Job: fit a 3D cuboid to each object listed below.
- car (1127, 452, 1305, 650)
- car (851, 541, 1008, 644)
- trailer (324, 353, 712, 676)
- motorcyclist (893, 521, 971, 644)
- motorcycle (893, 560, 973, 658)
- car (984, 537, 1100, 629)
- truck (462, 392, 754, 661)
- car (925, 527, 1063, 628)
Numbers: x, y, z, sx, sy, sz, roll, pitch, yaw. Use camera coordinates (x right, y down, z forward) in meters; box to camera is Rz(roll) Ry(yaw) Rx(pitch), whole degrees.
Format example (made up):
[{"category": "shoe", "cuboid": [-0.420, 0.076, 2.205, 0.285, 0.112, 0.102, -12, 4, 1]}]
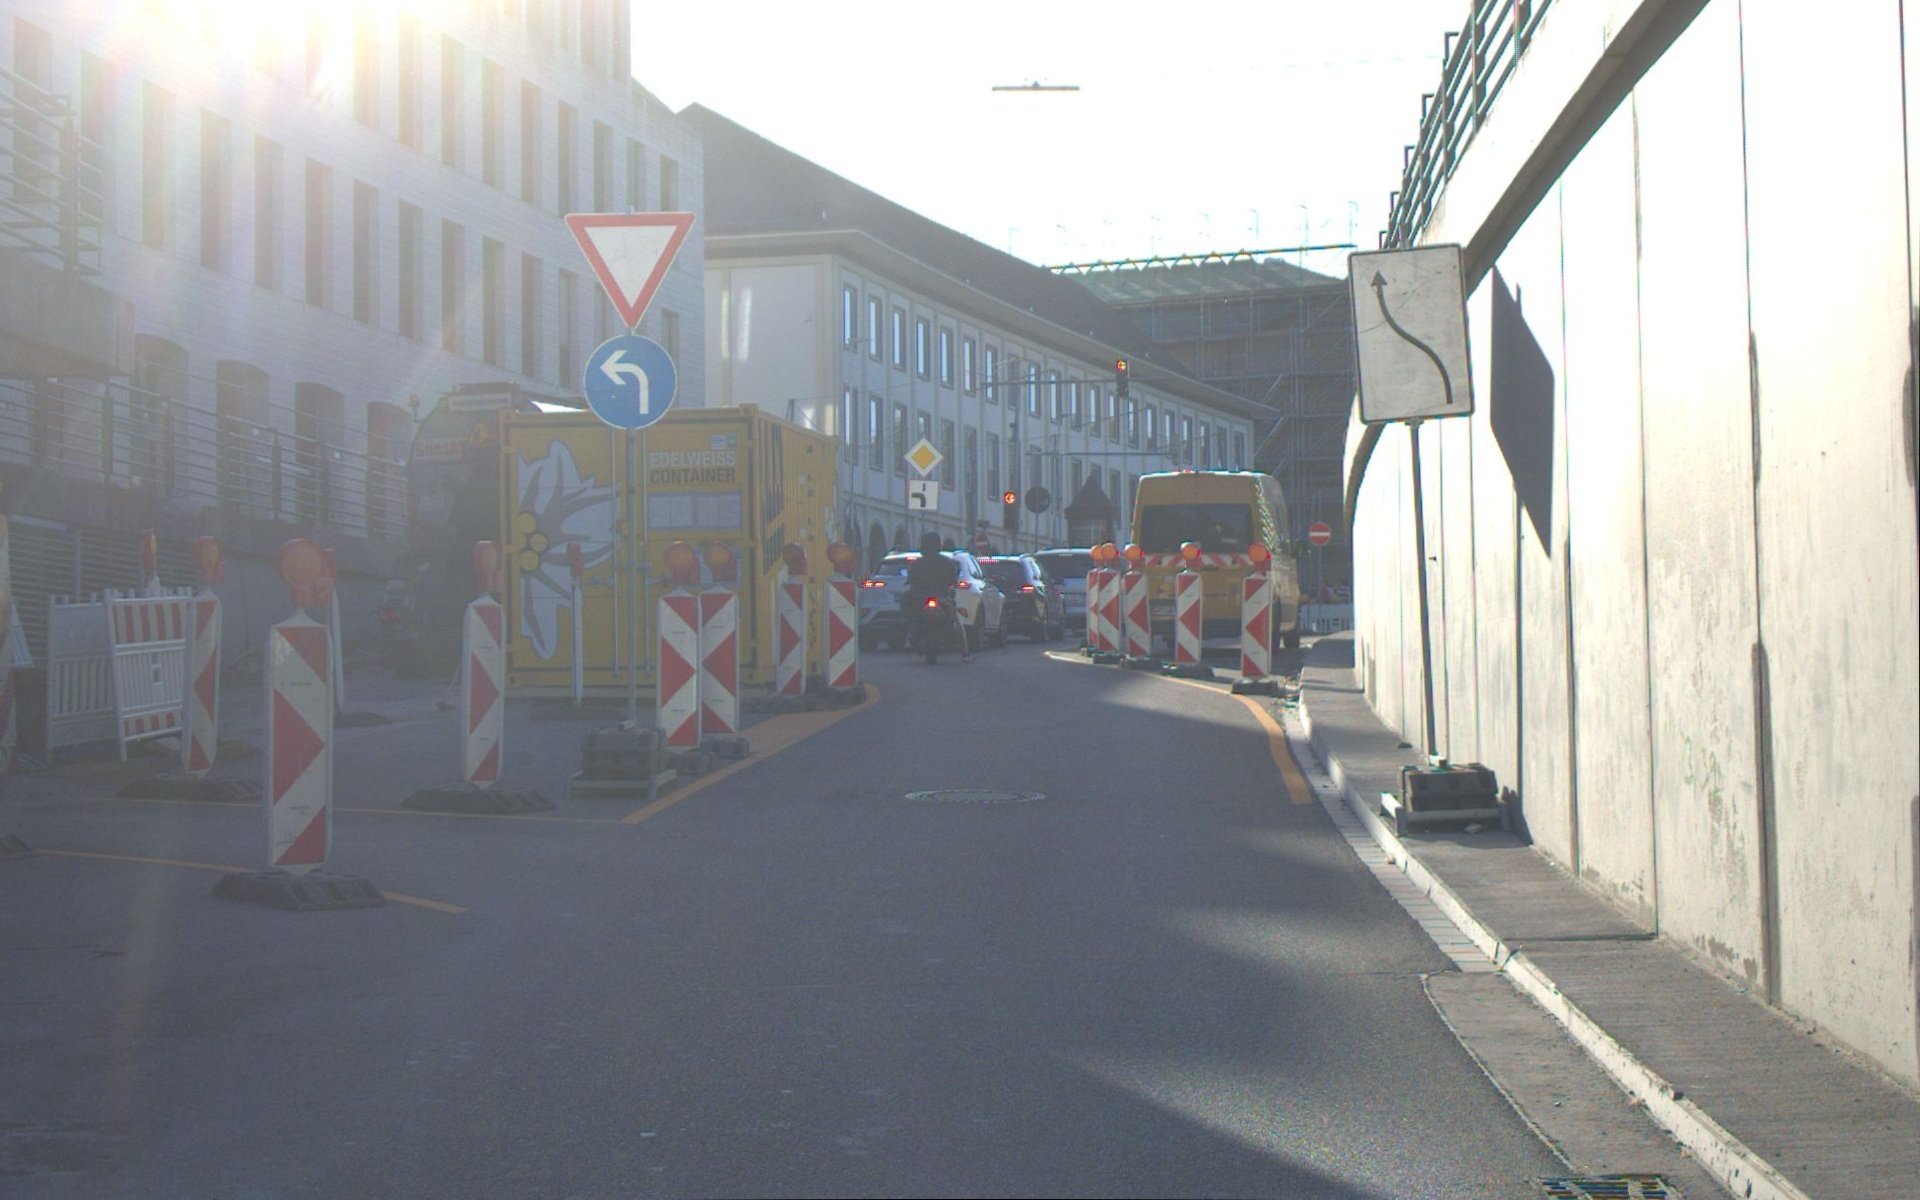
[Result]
[{"category": "car", "cuboid": [3.775, -0.673, 49.487, 2.112, 2.616, 6.985, -1, 0, 8]}, {"category": "car", "cuboid": [-0.415, -0.135, 51.286, 1.859, 1.467, 3.999, 1, 1, 6]}, {"category": "trailer", "cuboid": [-5.622, -1.060, 45.508, 2.643, 3.656, 8.746, -5, 0, 8]}, {"category": "motorcyclist", "cuboid": [-0.371, -0.238, 44.467, 0.954, 1.554, 1.239, 0, 2, -3]}, {"category": "motorcycle", "cuboid": [-0.365, 0.096, 44.481, 0.905, 1.179, 2.579, 0, 2, -3]}, {"category": "car", "cuboid": [1.626, -0.357, 66.864, 1.804, 1.715, 4.162, -1, 1, 8]}, {"category": "truck", "cuboid": [-4.974, -1.028, 49.741, 2.580, 3.478, 5.814, -4, 0, 9]}, {"category": "car", "cuboid": [0.602, -0.341, 57.597, 1.774, 1.545, 4.105, -1, -1, 8]}]
